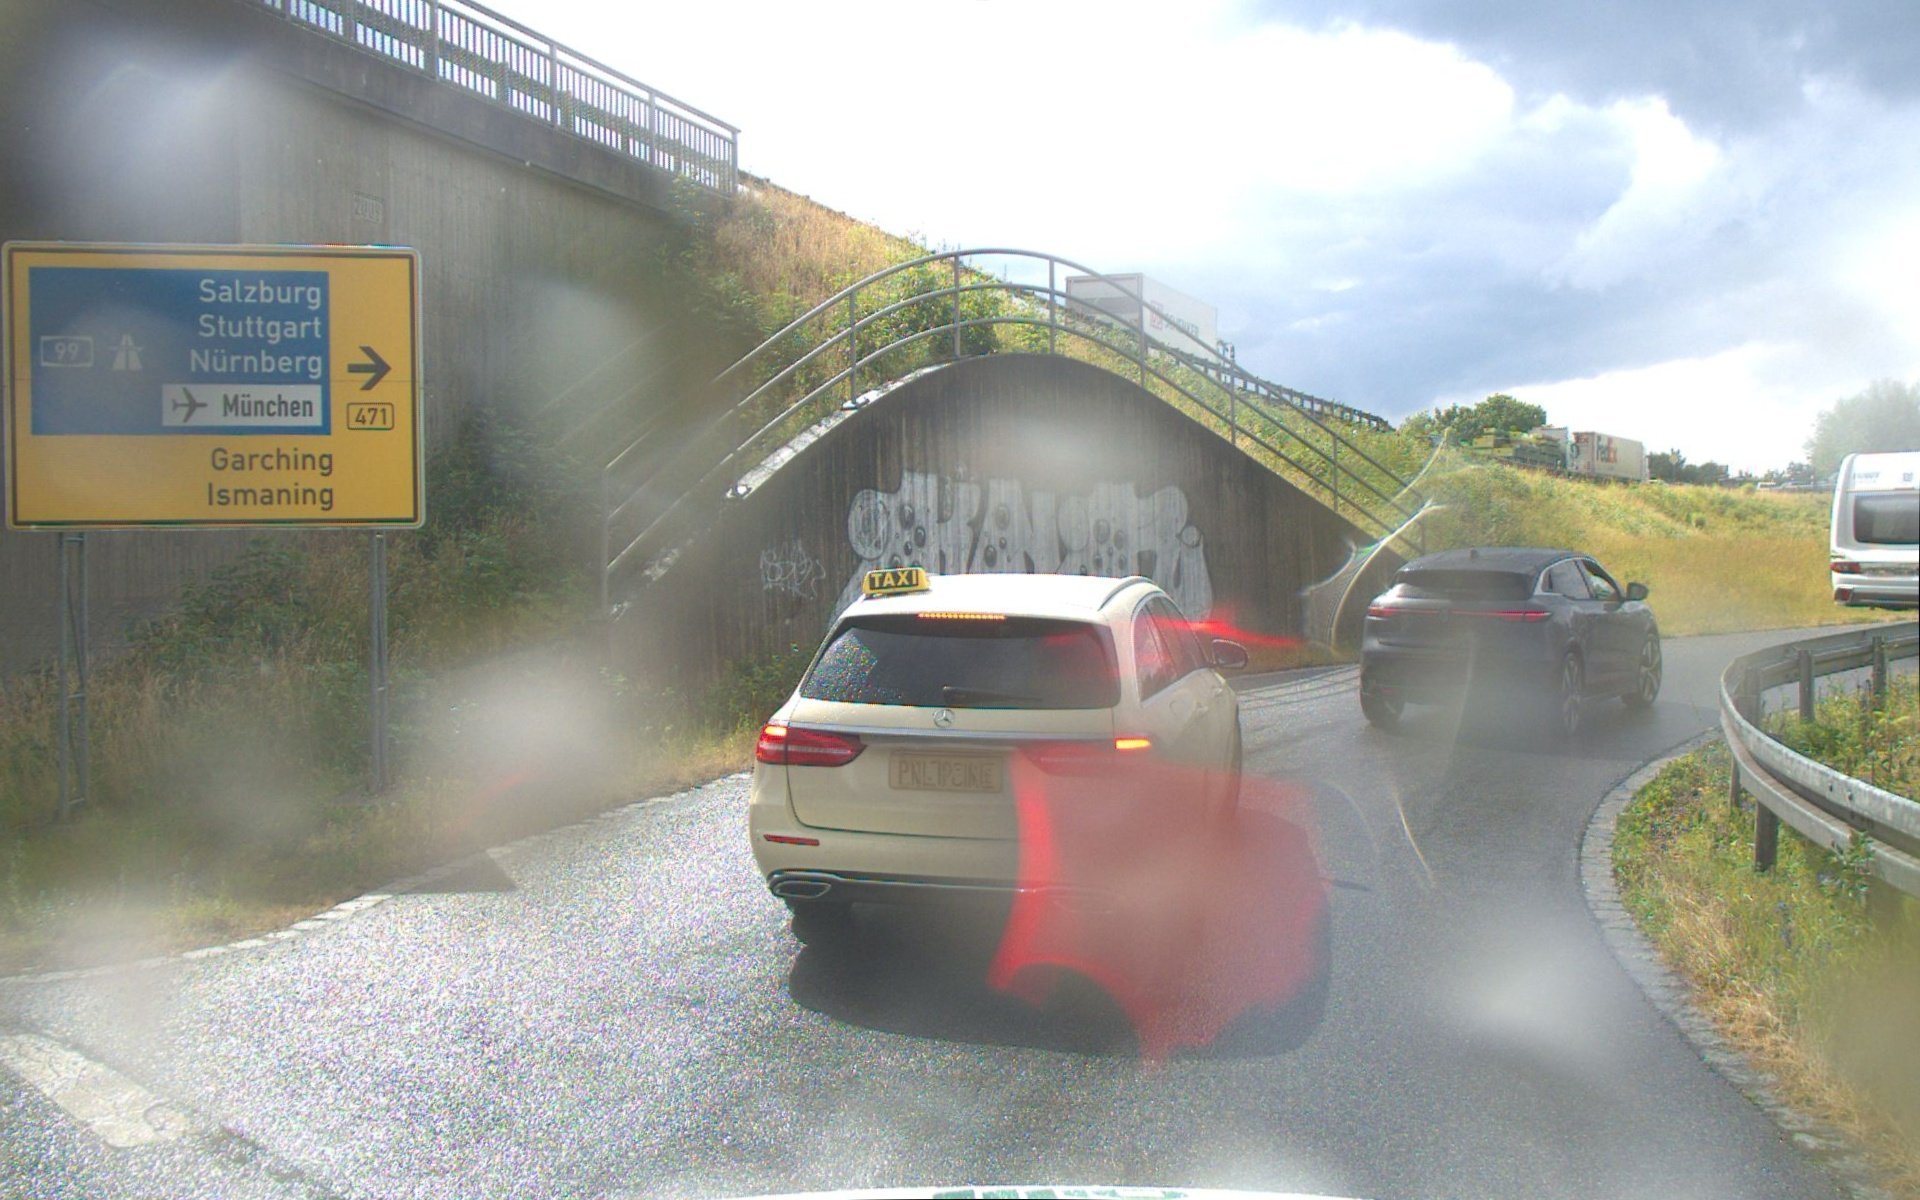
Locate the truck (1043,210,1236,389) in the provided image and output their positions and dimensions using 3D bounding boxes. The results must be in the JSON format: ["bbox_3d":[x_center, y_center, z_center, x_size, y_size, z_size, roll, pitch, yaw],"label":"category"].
[{"bbox_3d":[5.910,-9.312,52.702,3.118,4.035,9.228,1,0,26],"label":"truck"}]

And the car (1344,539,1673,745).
[{"bbox_3d":[5.041,0.250,14.883,1.689,1.551,3.986,2,3,36],"label":"car"}]

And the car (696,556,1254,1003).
[{"bbox_3d":[0.424,0.560,8.124,1.875,1.533,4.601,0,2,12],"label":"car"}]

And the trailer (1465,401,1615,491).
[{"bbox_3d":[37.079,-9.489,104.769,4.335,4.025,20.160,1,1,33],"label":"trailer"}]

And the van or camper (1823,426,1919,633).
[{"bbox_3d":[15.524,-1.049,23.651,5.898,2.776,2.423,-2,3,-22],"label":"van or camper"}]

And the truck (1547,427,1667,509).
[{"bbox_3d":[47.618,-9.415,121.050,4.381,4.581,19.321,1,0,33],"label":"truck"}]
